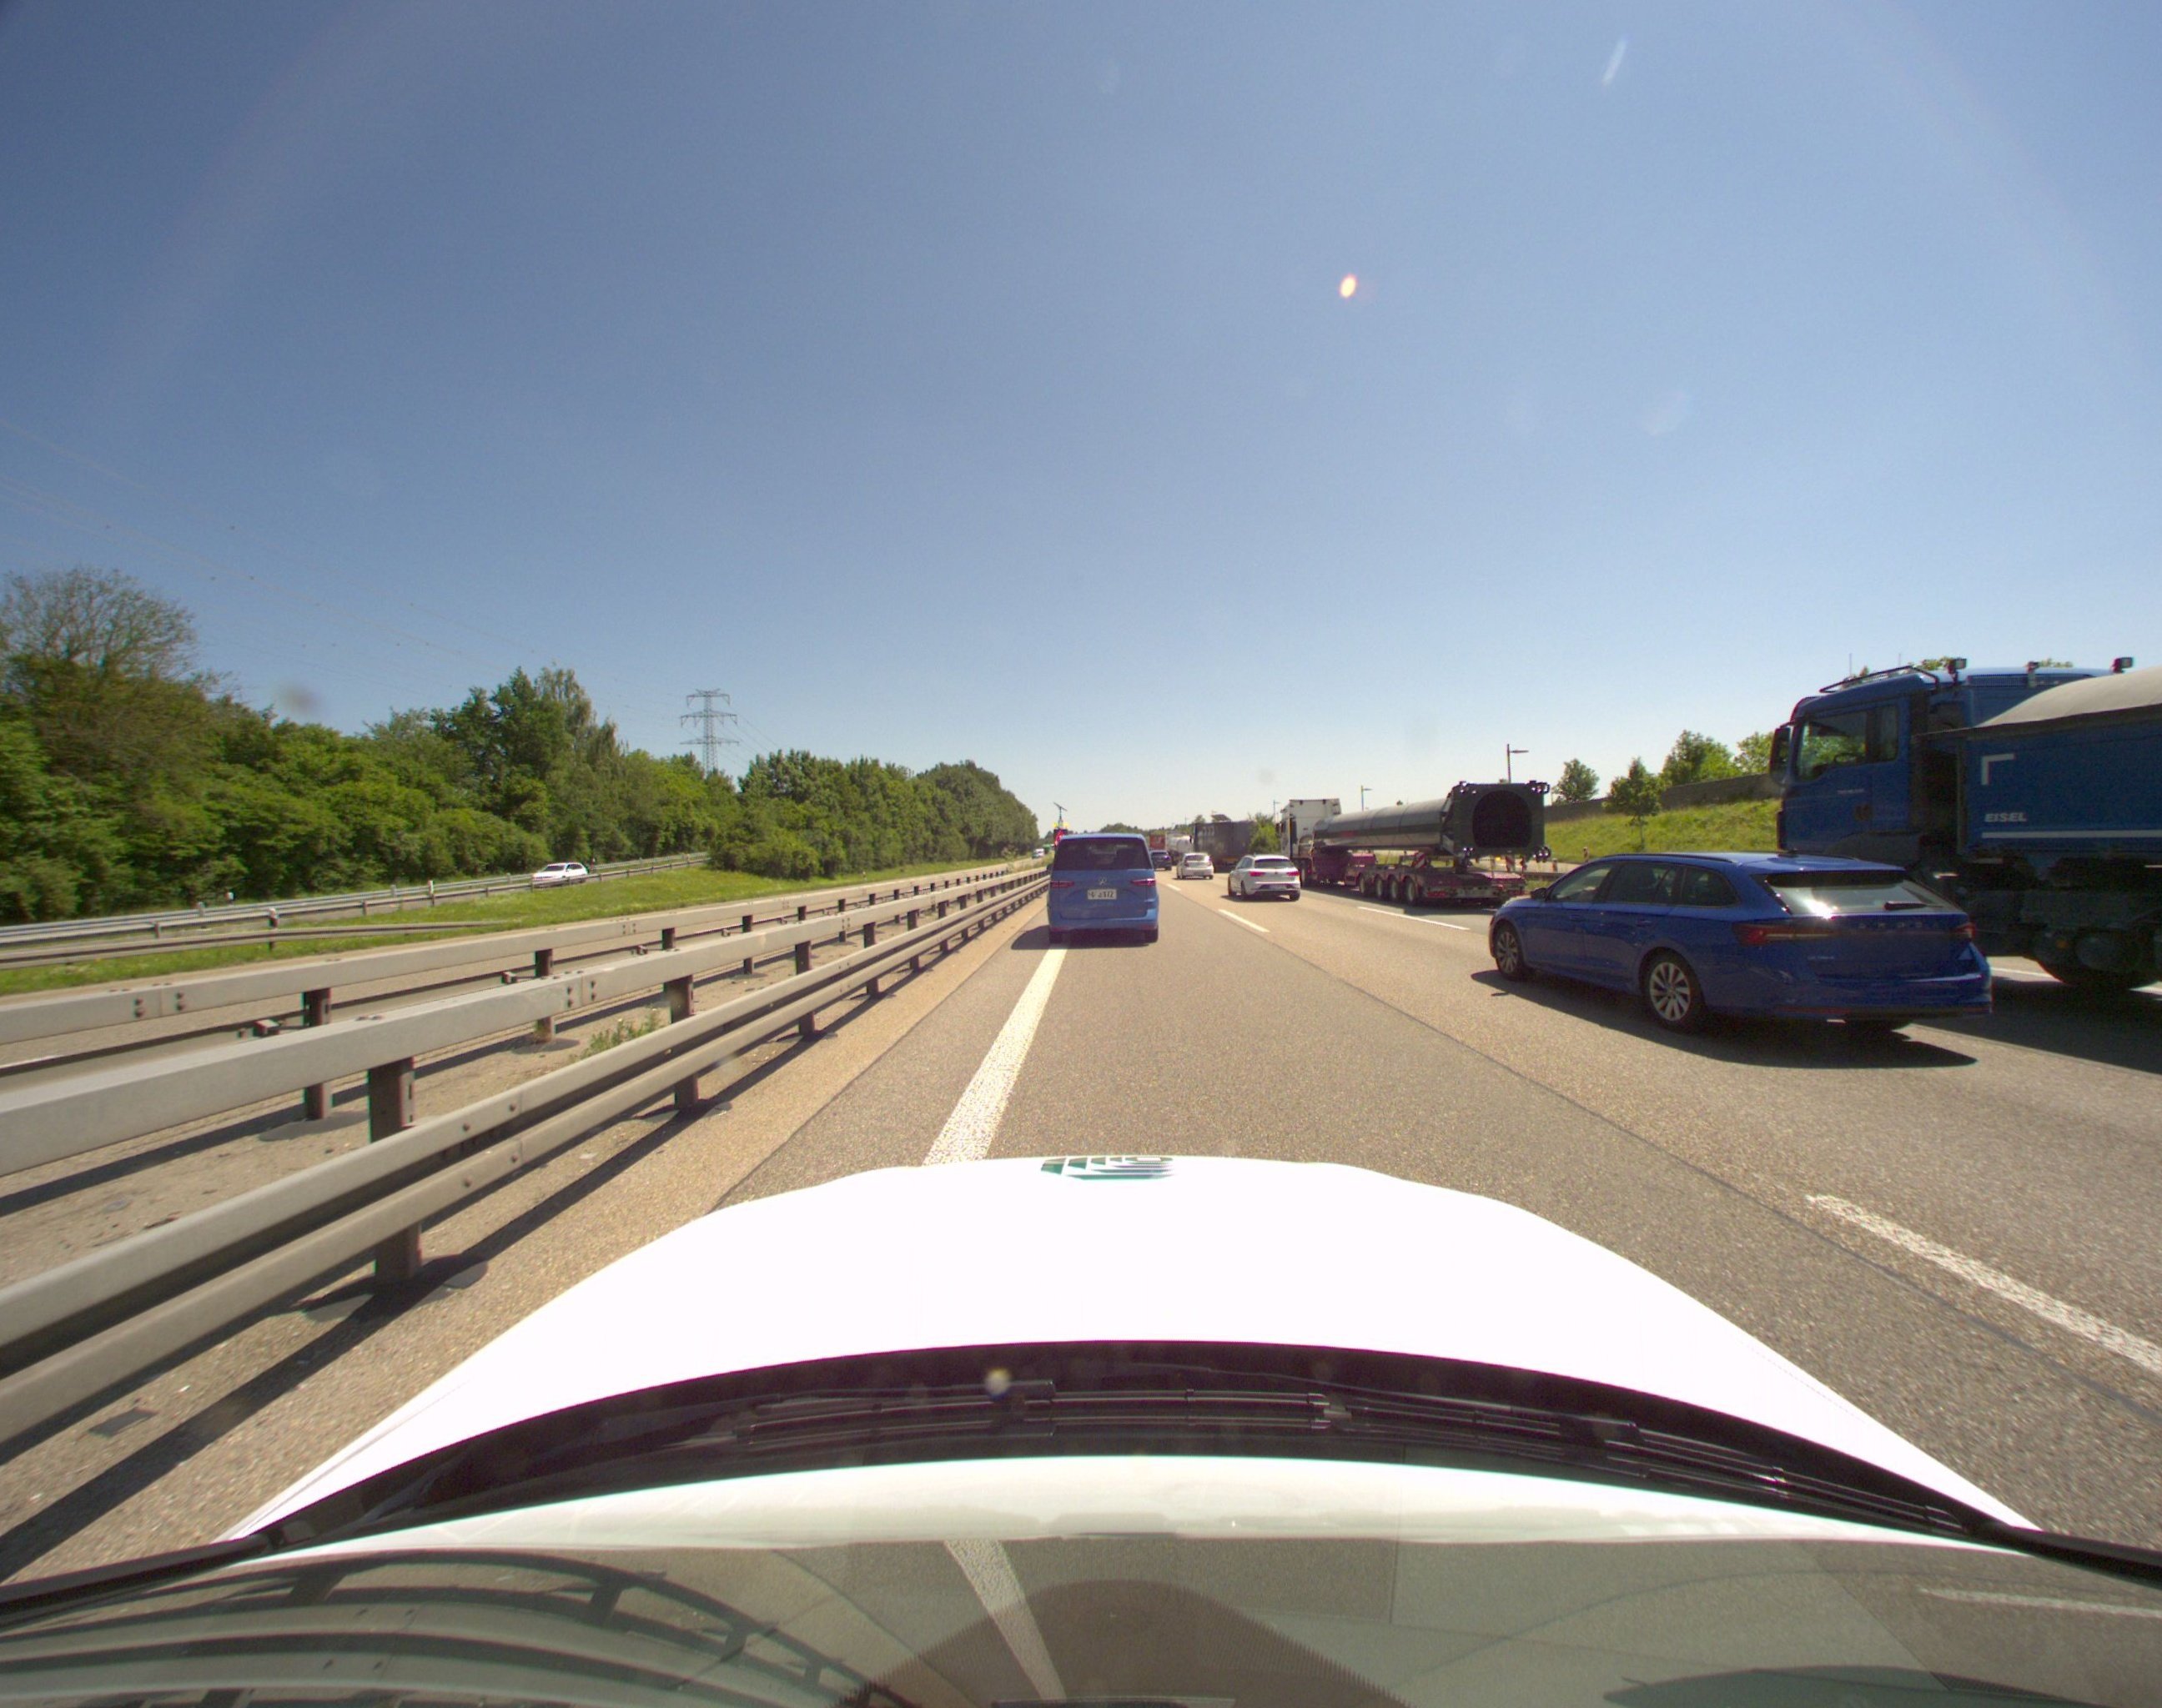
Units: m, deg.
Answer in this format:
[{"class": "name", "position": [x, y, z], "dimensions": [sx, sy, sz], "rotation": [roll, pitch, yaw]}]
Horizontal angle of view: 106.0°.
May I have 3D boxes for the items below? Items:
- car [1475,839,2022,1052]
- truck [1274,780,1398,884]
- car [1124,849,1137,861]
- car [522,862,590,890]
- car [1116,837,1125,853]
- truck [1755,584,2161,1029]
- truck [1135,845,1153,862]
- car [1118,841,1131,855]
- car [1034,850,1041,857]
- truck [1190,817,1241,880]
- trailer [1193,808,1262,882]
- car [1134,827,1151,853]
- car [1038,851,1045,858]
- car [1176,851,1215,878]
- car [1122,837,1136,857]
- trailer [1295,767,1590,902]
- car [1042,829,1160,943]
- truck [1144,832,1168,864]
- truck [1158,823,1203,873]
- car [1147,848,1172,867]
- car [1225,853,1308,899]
[{"class": "car", "position": [5.599, 0.648, 7.748], "dimensions": [1.699, 1.441, 4.430], "rotation": [0, -1, 2]}, {"class": "truck", "position": [11.042, -0.842, 36.150], "dimensions": [3.609, 4.094, 7.532], "rotation": [-1, -1, 4]}, {"class": "car", "position": [8.477, 0.182, 139.610], "dimensions": [1.986, 2.014, 4.001], "rotation": [0, -1, 2]}, {"class": "car", "position": [-33.386, 1.350, 51.954], "dimensions": [1.632, 1.674, 4.889], "rotation": [0, -1, -7]}, {"class": "car", "position": [12.168, -2.655, 252.914], "dimensions": [2.706, 4.713, 11.564], "rotation": [0, -1, 2]}, {"class": "truck", "position": [9.424, -0.365, 6.297], "dimensions": [2.733, 3.311, 7.136], "rotation": [0, 1, 2]}, {"class": "truck", "position": [6.697, -0.034, 87.413], "dimensions": [1.719, 1.857, 4.001], "rotation": [0, -1, 2]}, {"class": "car", "position": [8.851, -1.251, 167.854], "dimensions": [2.541, 2.717, 5.623], "rotation": [0, -1, 2]}, {"class": "car", "position": [-12.015, -0.049, 225.394], "dimensions": [1.789, 1.886, 4.001], "rotation": [0, -1, 2]}, {"class": "truck", "position": [11.544, -0.427, 70.544], "dimensions": [3.644, 5.180, 5.711], "rotation": [0, -1, 2]}, {"class": "trailer", "position": [11.182, -0.545, 63.774], "dimensions": [3.631, 5.136, 13.084], "rotation": [0, -1, 3]}, {"class": "car", "position": [12.946, -2.888, 171.818], "dimensions": [3.206, 5.257, 8.147], "rotation": [0, -1, 2]}, {"class": "car", "position": [-11.910, 0.152, 243.505], "dimensions": [1.789, 1.886, 4.001], "rotation": [0, -1, 2]}, {"class": "car", "position": [6.481, 0.577, 46.415], "dimensions": [1.833, 1.454, 4.003], "rotation": [0, -1, 3]}, {"class": "car", "position": [13.094, -1.884, 222.692], "dimensions": [3.209, 5.257, 8.138], "rotation": [0, -1, -2]}, {"class": "trailer", "position": [10.362, -0.358, 26.628], "dimensions": [3.630, 3.079, 15.787], "rotation": [0, -1, 4]}, {"class": "car", "position": [0.440, 0.538, 15.183], "dimensions": [1.893, 1.838, 4.003], "rotation": [0, -1, 3]}, {"class": "truck", "position": [12.069, -0.938, 131.771], "dimensions": [3.057, 4.920, 10.693], "rotation": [0, -1, 2]}, {"class": "truck", "position": [11.284, -0.569, 94.198], "dimensions": [3.608, 5.213, 15.692], "rotation": [0, -1, 1]}, {"class": "car", "position": [6.464, 0.333, 67.289], "dimensions": [1.774, 1.524, 4.001], "rotation": [0, -1, 2]}, {"class": "car", "position": [5.868, 0.646, 26.218], "dimensions": [1.861, 1.361, 4.001], "rotation": [0, 0, 1]}]
